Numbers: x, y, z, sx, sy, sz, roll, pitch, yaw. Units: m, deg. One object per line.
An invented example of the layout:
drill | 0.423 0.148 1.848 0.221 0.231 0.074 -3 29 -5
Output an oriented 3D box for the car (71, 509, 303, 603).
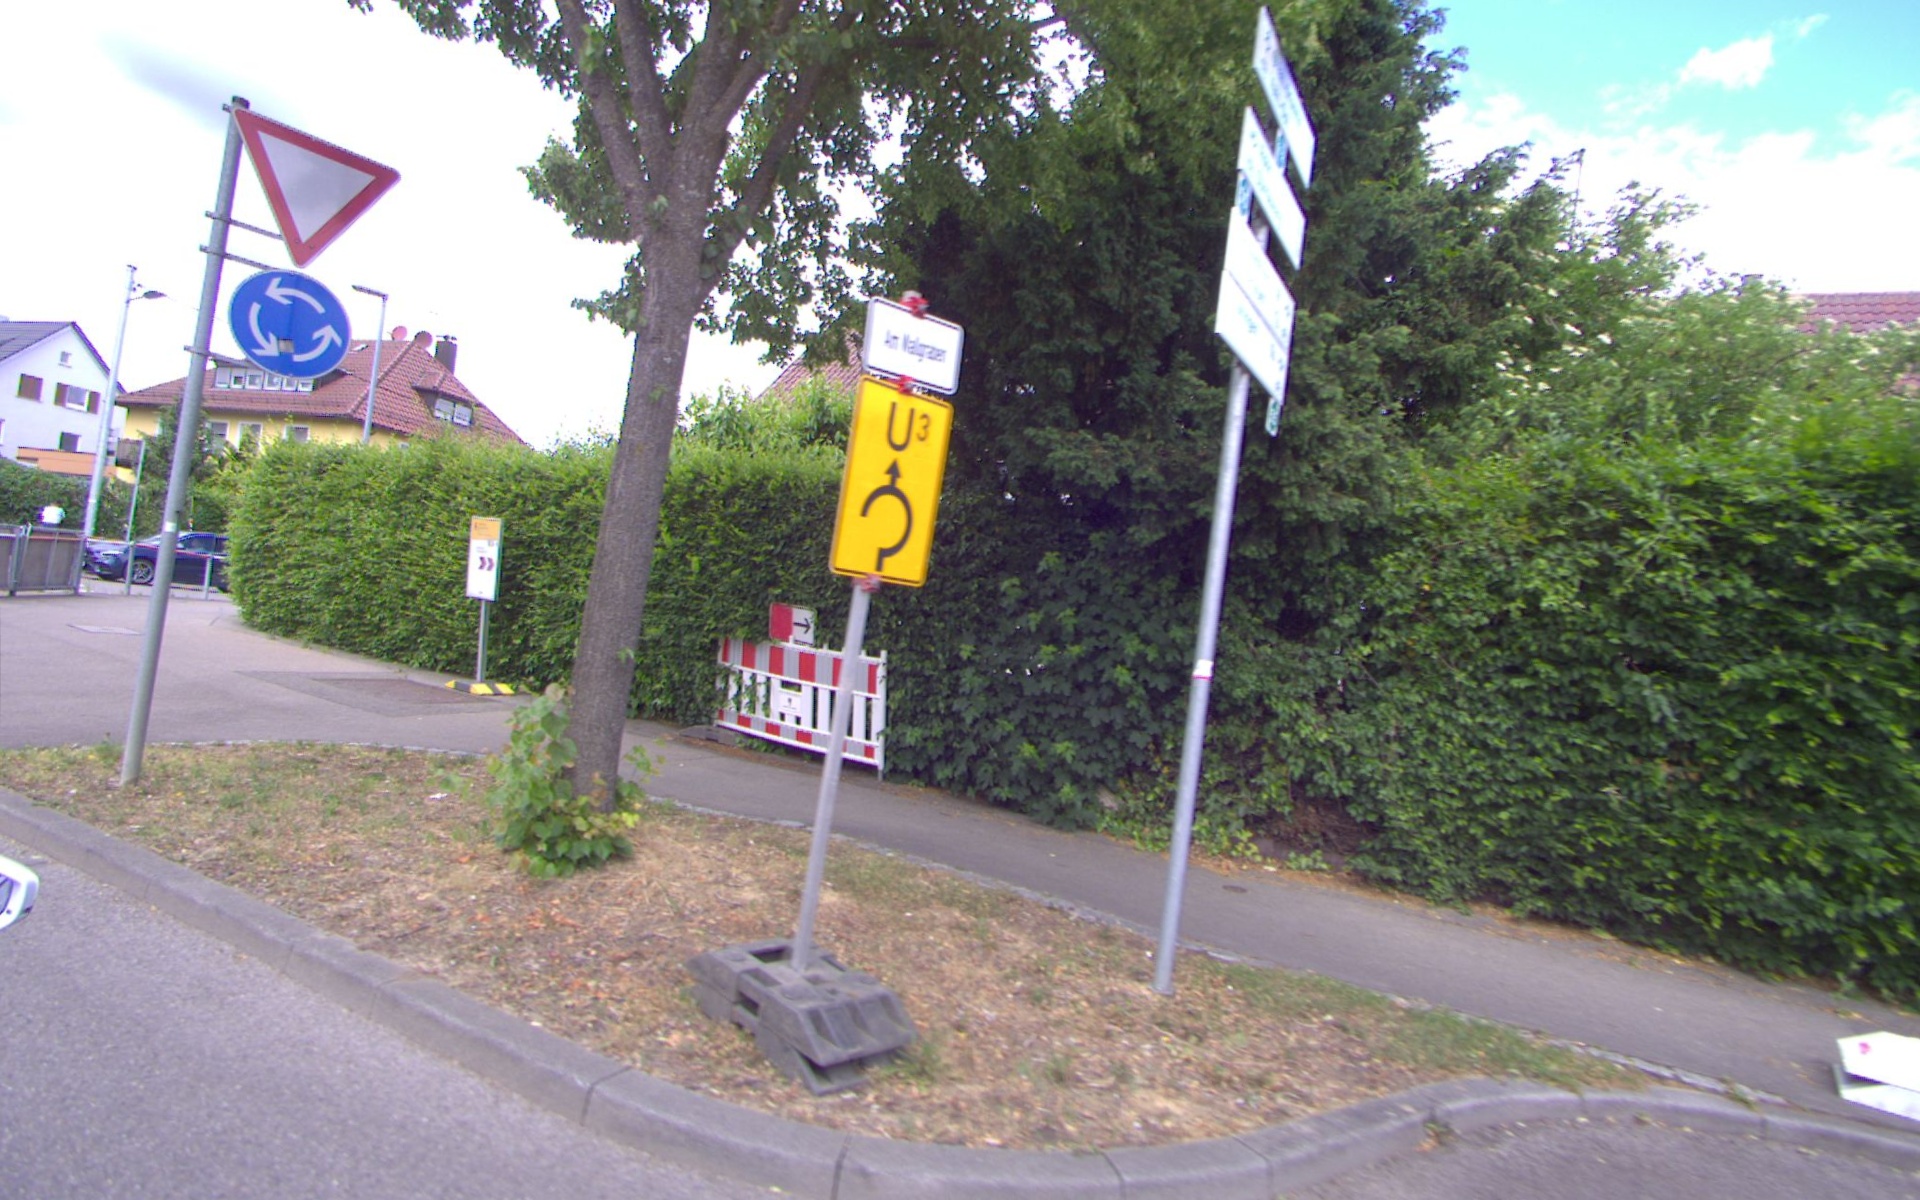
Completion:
car | -20.089 -1.082 26.364 1.622 1.679 4.411 7 -3 29

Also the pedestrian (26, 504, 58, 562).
pedestrian | -25.752 -1.882 28.225 0.488 1.552 0.479 7 -1 -39
